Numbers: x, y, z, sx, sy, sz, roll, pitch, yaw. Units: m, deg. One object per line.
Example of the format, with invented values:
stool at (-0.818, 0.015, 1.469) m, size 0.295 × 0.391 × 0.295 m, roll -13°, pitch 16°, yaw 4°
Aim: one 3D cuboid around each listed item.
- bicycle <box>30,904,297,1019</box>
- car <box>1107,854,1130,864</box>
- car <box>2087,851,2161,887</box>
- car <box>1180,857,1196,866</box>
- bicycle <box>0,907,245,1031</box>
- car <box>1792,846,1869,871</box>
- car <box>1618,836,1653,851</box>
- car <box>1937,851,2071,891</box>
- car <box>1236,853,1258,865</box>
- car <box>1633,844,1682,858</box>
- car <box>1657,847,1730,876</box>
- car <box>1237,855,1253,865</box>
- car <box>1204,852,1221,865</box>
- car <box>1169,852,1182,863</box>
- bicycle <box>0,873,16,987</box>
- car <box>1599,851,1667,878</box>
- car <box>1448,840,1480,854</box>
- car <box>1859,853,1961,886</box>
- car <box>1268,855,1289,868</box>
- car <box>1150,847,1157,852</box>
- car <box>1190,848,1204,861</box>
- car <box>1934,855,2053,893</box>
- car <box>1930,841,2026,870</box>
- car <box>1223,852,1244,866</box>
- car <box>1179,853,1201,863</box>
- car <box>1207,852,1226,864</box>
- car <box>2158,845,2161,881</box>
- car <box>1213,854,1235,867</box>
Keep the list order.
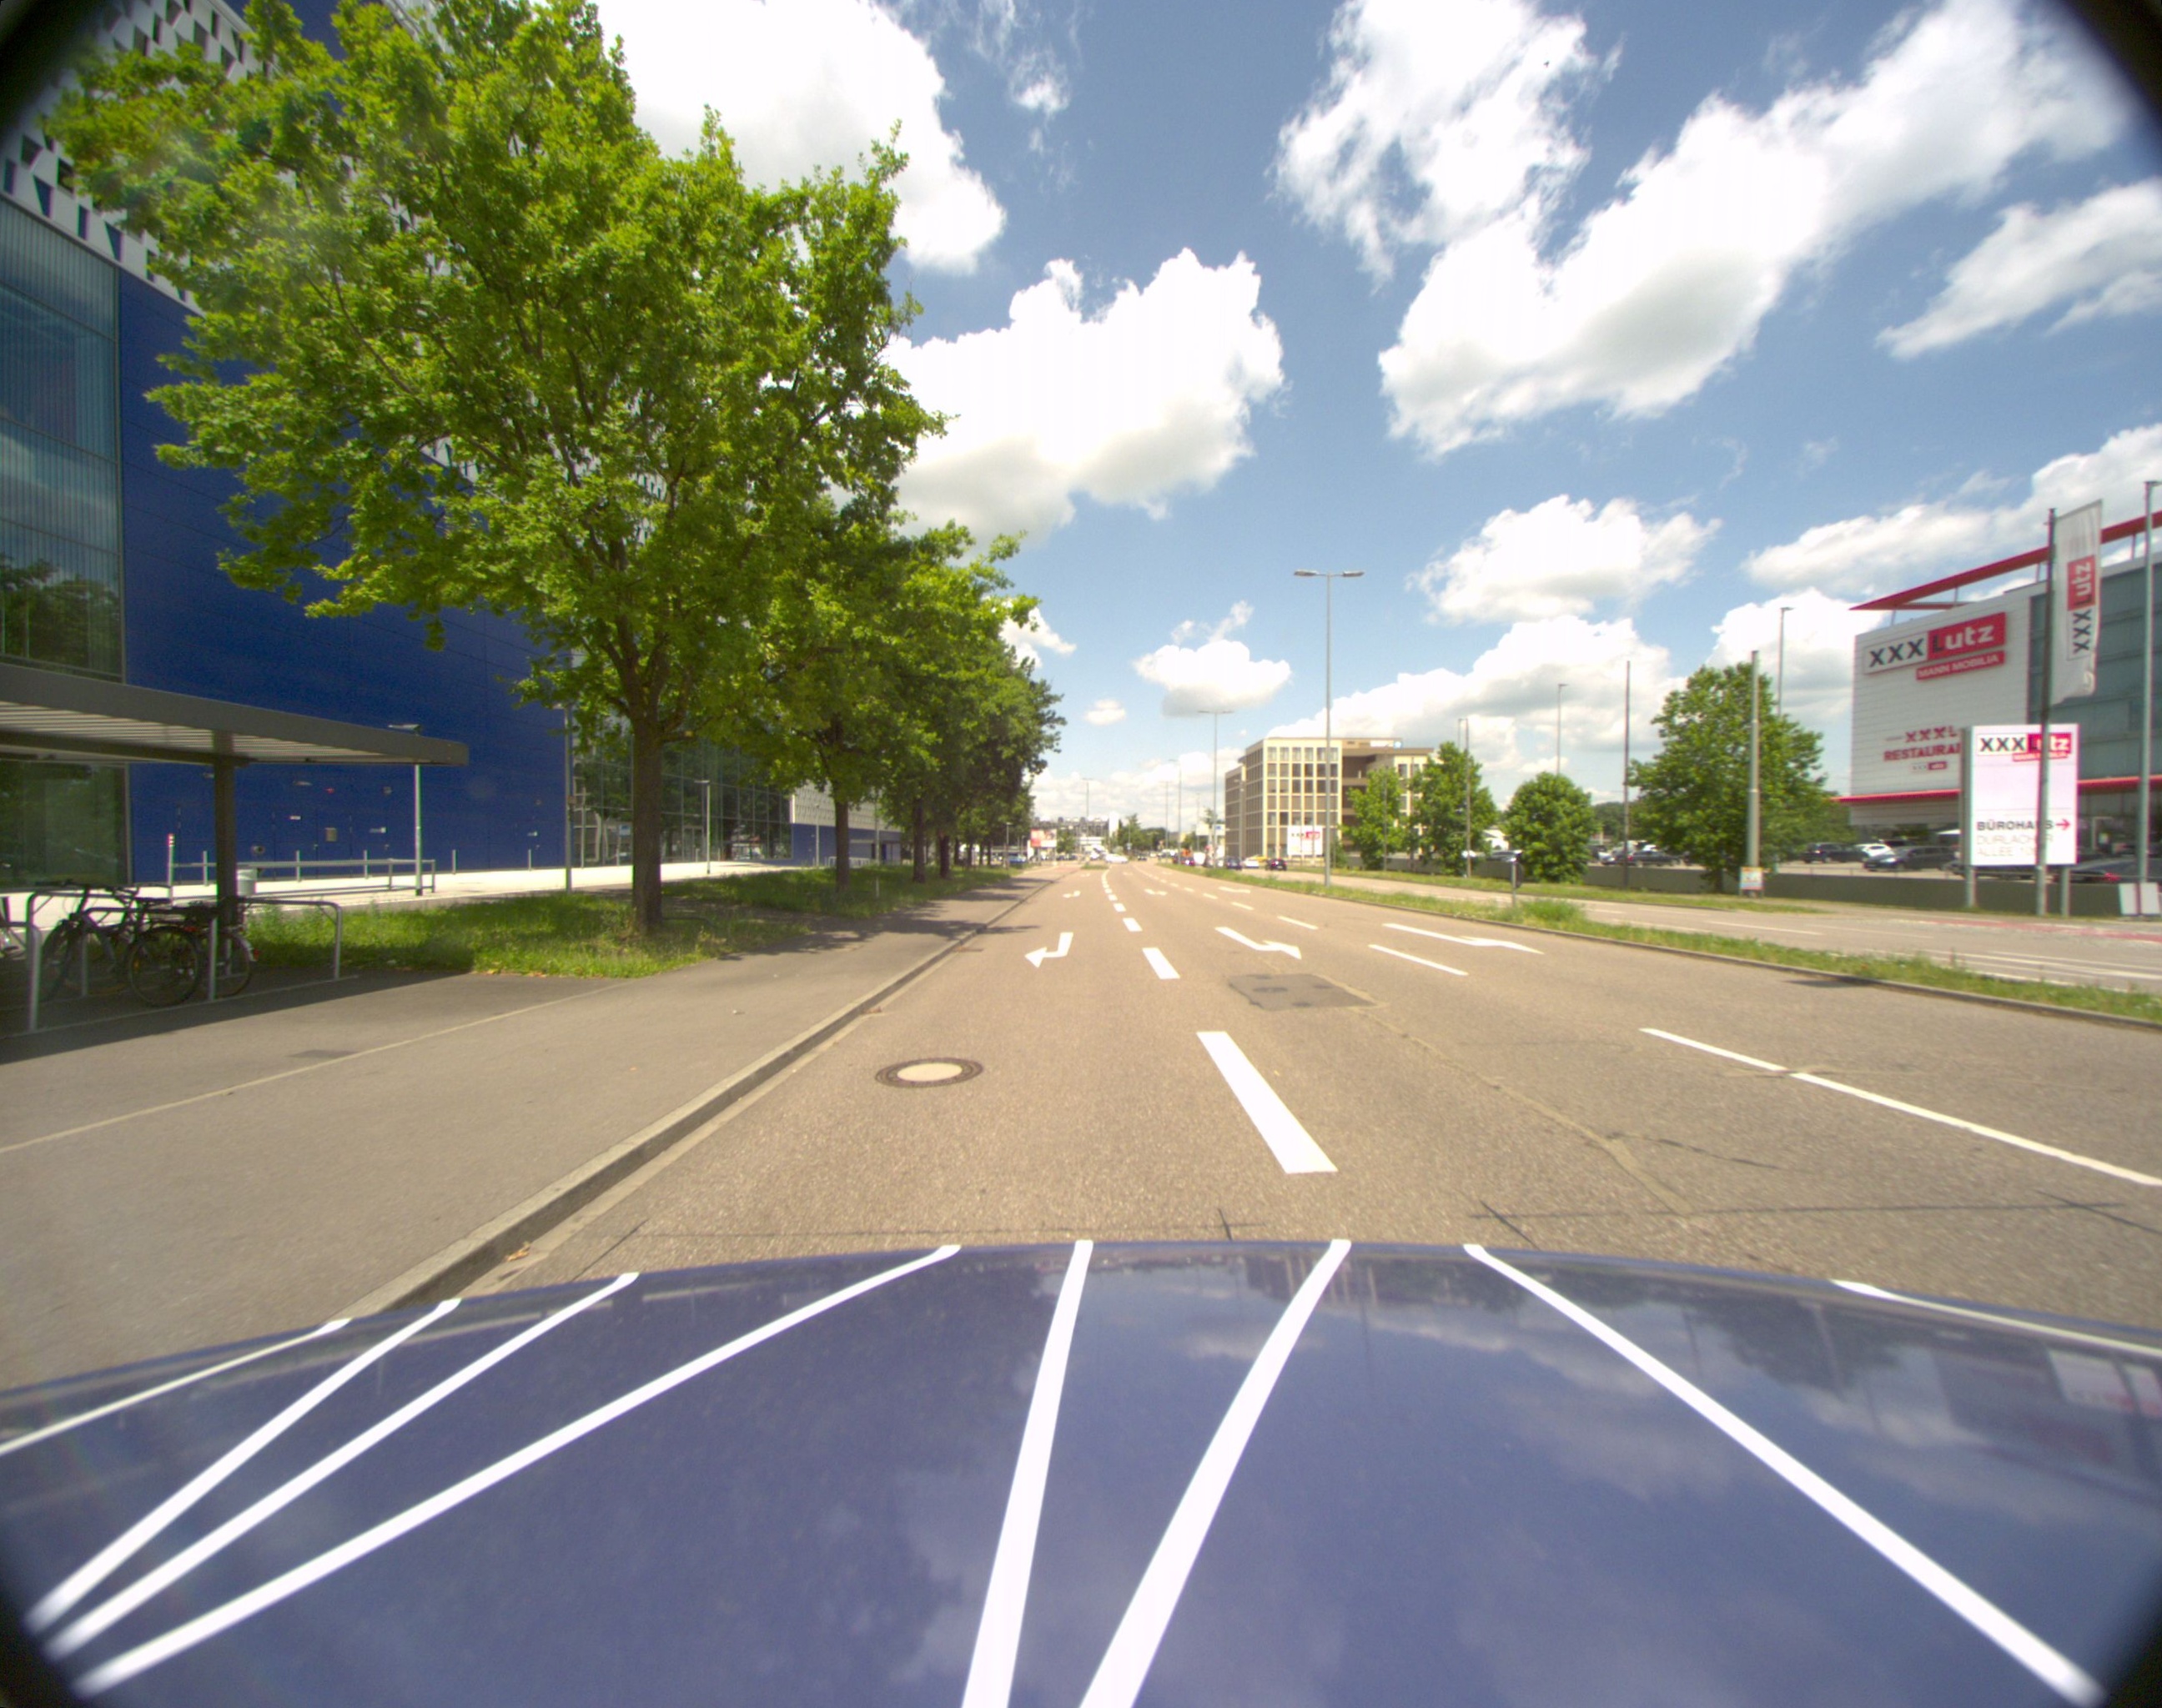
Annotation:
bicycle at (-8.630, 1.002, 7.185) m, size 1.867 × 0.989 × 0.423 m, roll 2°, pitch 1°, yaw -4°
car at (6.527, 0.824, 132.345) m, size 3.997 × 1.681 × 1.858 m, roll 1°, pitch 0°, yaw 0°
car at (61.361, 0.844, 43.667) m, size 4.359 × 1.978 × 2.000 m, roll 0°, pitch 1°, yaw 0°
car at (14.907, 1.081, 105.922) m, size 1.796 × 1.243 × 4.308 m, roll 1°, pitch 0°, yaw 3°
bicycle at (-8.602, 1.001, 6.695) m, size 1.867 × 0.989 × 0.423 m, roll 2°, pitch 1°, yaw -4°
car at (61.706, 0.337, 62.586) m, size 4.359 × 1.978 × 2.000 m, roll 0°, pitch 1°, yaw 0°
car at (73.558, -1.381, 100.914) m, size 1.855 × 1.822 × 3.833 m, roll 1°, pitch 0°, yaw 0°
car at (46.975, 0.831, 38.746) m, size 4.359 × 1.978 × 2.000 m, roll 0°, pitch 1°, yaw 0°
car at (22.165, 0.653, 101.483) m, size 1.624 × 1.464 × 4.357 m, roll 1°, pitch 0°, yaw -5°
car at (62.830, -0.320, 82.864) m, size 3.829 × 1.461 × 1.856 m, roll 1°, pitch 0°, yaw 3°
car at (50.349, 0.633, 62.502) m, size 4.359 × 2.315 × 2.000 m, roll 0°, pitch 1°, yaw 0°
car at (23.428, 0.826, 108.454) m, size 1.622 × 1.383 × 4.585 m, roll 1°, pitch 0°, yaw 4°
car at (17.920, 0.597, 103.938) m, size 1.796 × 1.691 × 4.228 m, roll 1°, pitch 0°, yaw 3°
car at (14.626, 0.505, 118.028) m, size 1.795 × 1.635 × 4.172 m, roll 1°, pitch 0°, yaw 4°
bicycle at (-12.038, 0.805, 8.165) m, size 2.008 × 1.101 × 0.578 m, roll 2°, pitch 1°, yaw 39°
car at (47.280, 0.875, 65.191) m, size 4.359 × 2.315 × 2.000 m, roll 0°, pitch 1°, yaw 0°
car at (51.075, -0.952, 101.356) m, size 1.855 × 1.822 × 4.674 m, roll 1°, pitch 0°, yaw 0°
car at (52.407, 0.969, 48.102) m, size 4.297 × 2.031 × 1.991 m, roll 0°, pitch 1°, yaw 0°
car at (22.308, 0.847, 85.965) m, size 1.622 × 1.461 × 4.118 m, roll 1°, pitch 0°, yaw 4°
car at (24.359, -1.489, 254.572) m, size 2.289 × 1.708 × 4.483 m, roll 1°, pitch 1°, yaw 4°
car at (17.996, 0.061, 117.893) m, size 1.861 × 2.031 × 3.577 m, roll 1°, pitch 0°, yaw 4°
car at (52.048, 1.118, 43.403) m, size 4.359 × 2.038 × 2.000 m, roll 0°, pitch 1°, yaw 0°
car at (62.868, 0.101, 53.330) m, size 4.359 × 1.978 × 2.000 m, roll 0°, pitch 1°, yaw 0°
car at (16.438, 0.545, 81.971) m, size 1.743 × 1.466 × 3.676 m, roll 1°, pitch 1°, yaw 3°
car at (16.047, 0.596, 111.884) m, size 1.799 × 1.551 × 3.765 m, roll 1°, pitch 0°, yaw -16°
car at (17.294, 0.491, 97.183) m, size 1.796 × 1.393 × 4.846 m, roll 1°, pitch 0°, yaw 3°
car at (61.618, 0.507, 40.906) m, size 4.359 × 1.978 × 2.000 m, roll 0°, pitch 1°, yaw 0°
car at (17.016, 0.734, 90.610) m, size 1.796 × 1.409 × 4.675 m, roll 3°, pitch 0°, yaw 2°
